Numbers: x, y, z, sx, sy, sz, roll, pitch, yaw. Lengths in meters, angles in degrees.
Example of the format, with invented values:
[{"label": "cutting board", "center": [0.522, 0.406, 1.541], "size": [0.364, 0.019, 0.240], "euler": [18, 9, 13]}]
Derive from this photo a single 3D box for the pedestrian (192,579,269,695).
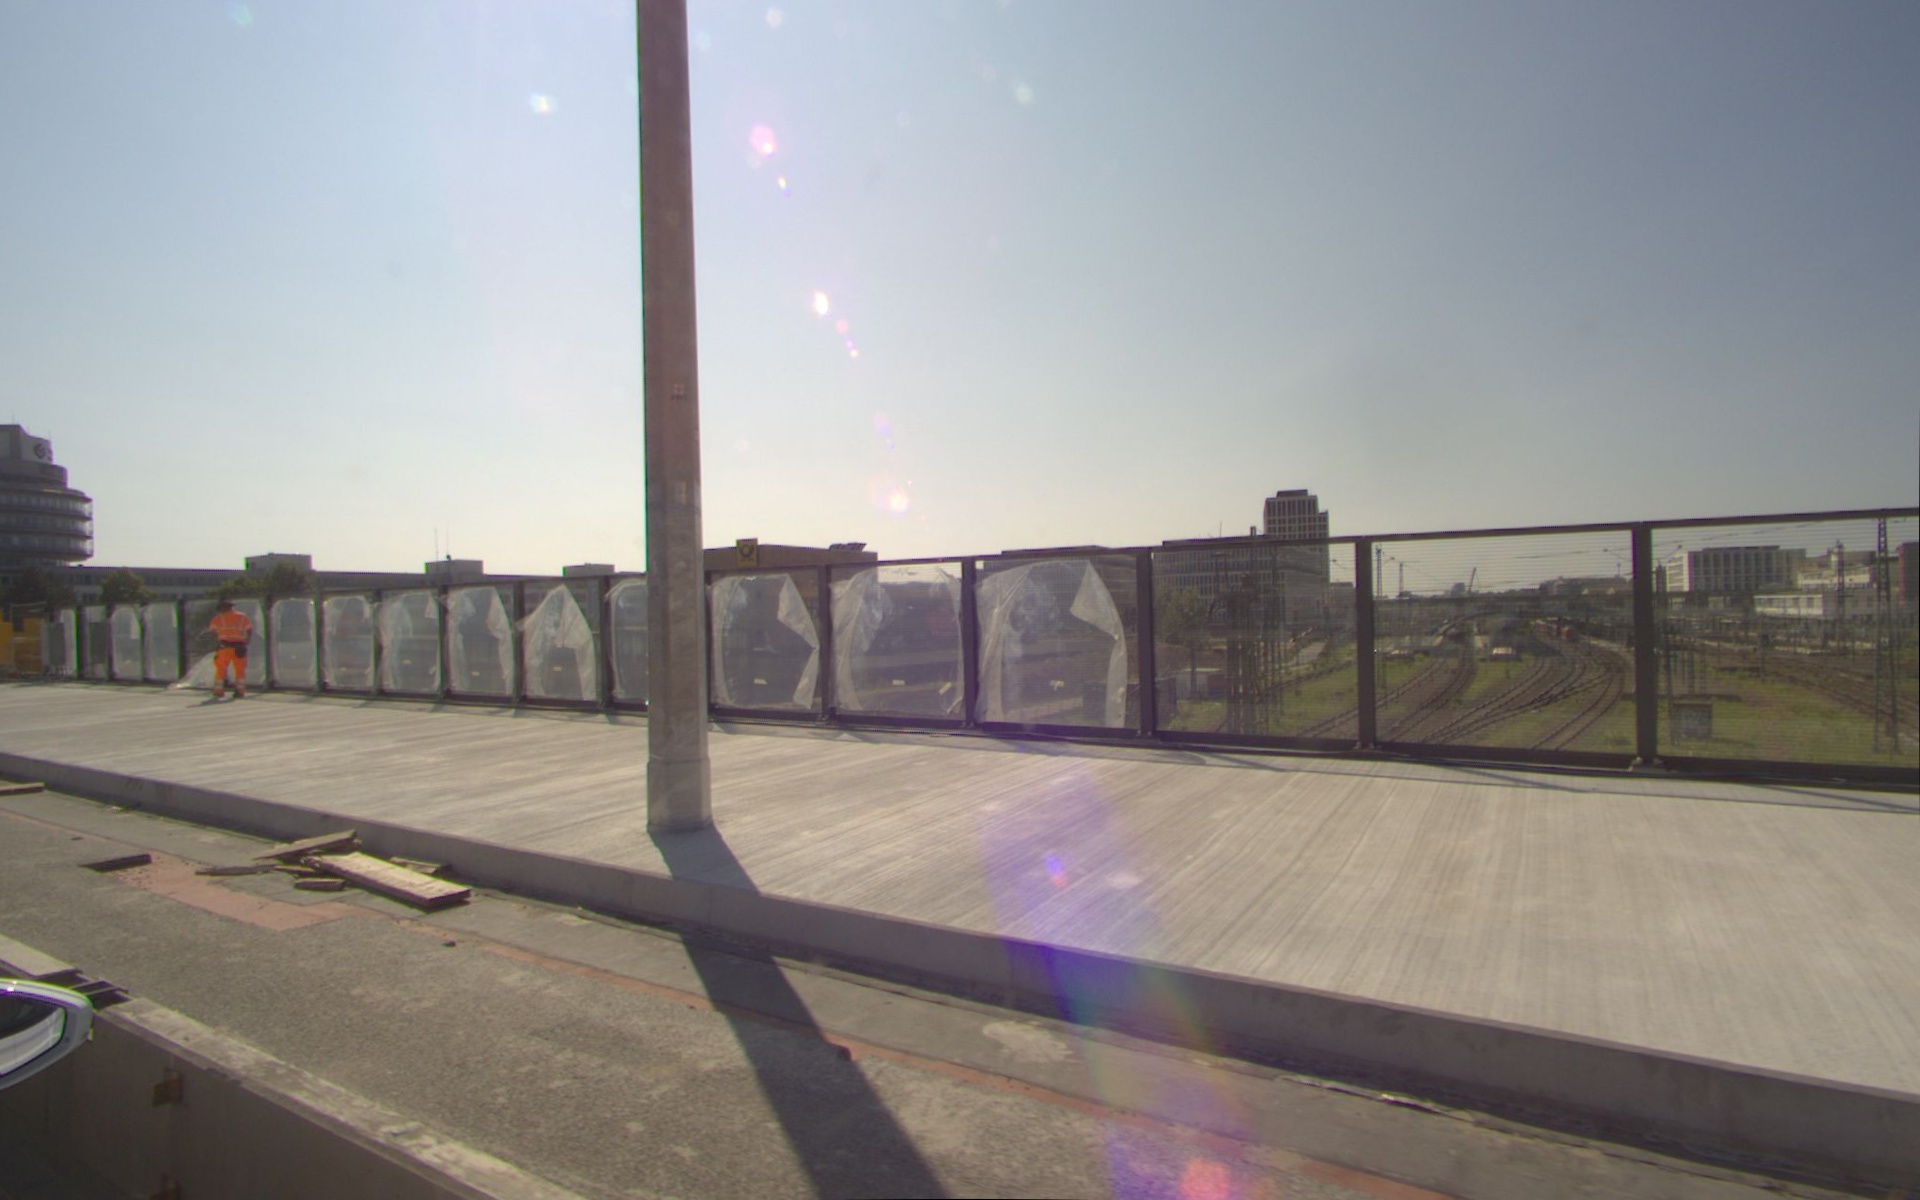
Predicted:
[{"label": "pedestrian", "center": [-12.952, 0.641, 17.789], "size": [1.002, 1.991, 0.729], "euler": [-1, 1, 33]}]
